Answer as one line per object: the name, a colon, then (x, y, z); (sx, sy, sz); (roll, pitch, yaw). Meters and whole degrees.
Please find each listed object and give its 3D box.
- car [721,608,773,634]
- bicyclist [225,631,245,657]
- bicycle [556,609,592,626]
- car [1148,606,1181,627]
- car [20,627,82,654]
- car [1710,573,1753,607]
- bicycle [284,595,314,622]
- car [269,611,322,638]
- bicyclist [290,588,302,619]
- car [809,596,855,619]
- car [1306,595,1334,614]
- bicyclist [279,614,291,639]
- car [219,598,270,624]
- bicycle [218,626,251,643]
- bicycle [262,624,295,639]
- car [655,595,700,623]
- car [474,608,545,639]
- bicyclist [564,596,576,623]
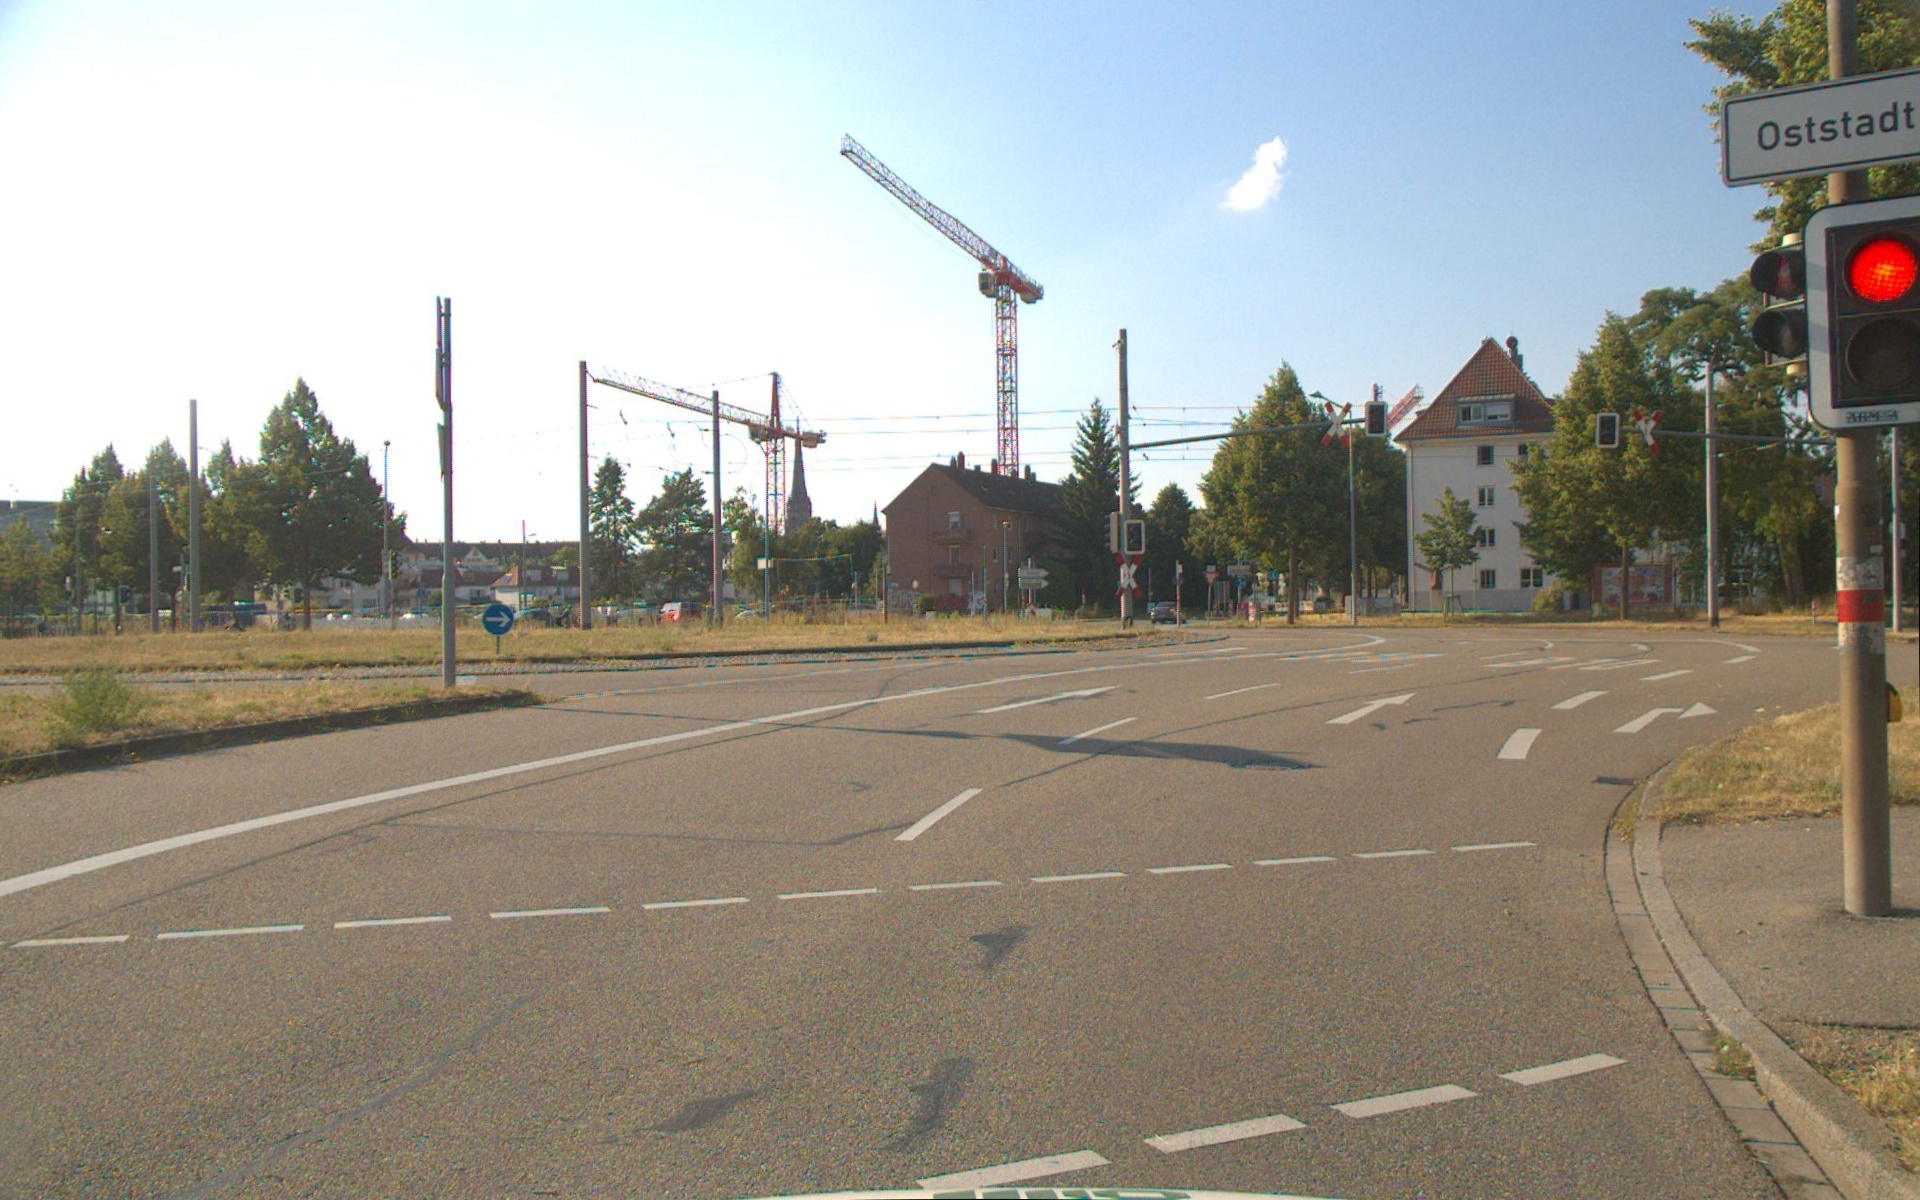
car: (-17.027, 1.684, 132.214); (3.728, 2.049, 1.673); (-1, -1, 18)
bicyclist: (-39.624, 2.400, 90.400); (0.943, 1.381, 0.687); (-1, 0, -27)
bicycle: (-22.162, 1.004, 95.031); (1.949, 0.934, 0.429); (-1, 0, -6)
car: (13.777, 1.110, 111.412); (1.425, 1.323, 3.550); (-1, 0, 19)
car: (-46.426, 2.074, 84.479); (2.644, 1.283, 1.100); (-1, 0, -35)
car: (38.599, -0.490, 82.699); (1.737, 1.646, 3.963); (-1, -1, 27)
bicycle: (-36.589, 0.472, 91.571); (1.520, 1.499, 0.475); (-1, 0, -26)
car: (-52.253, 1.934, 130.015); (3.917, 2.049, 1.994); (-1, 0, 34)
bicyclist: (-36.737, 0.215, 91.517); (0.599, 1.701, 0.474); (-1, -1, -25)
car: (-11.543, 0.684, 149.134); (3.728, 2.049, 1.673); (-1, -1, 18)
car: (35.252, 0.409, 161.819); (1.953, 1.811, 3.998); (1, 0, 24)
bicyclist: (-37.540, 1.458, 91.981); (0.643, 1.349, 0.515); (-1, 0, -23)
car: (-58.430, 0.937, 135.101); (3.917, 2.049, 1.994); (-1, 0, 34)
bicycle: (-39.643, 1.884, 90.377); (1.595, 0.875, 0.540); (-1, 0, -27)
bicycle: (-37.829, 1.731, 91.807); (1.694, 0.757, 0.477); (-1, 0, -25)
car: (-19.761, 0.631, 115.706); (1.899, 1.886, 3.961); (-1, 0, -29)
car: (-28.582, 1.460, 104.892); (3.950, 1.847, 1.977); (-1, 0, -33)
bicyclist: (-22.410, 0.531, 95.008); (0.610, 1.537, 0.418); (-1, 0, -6)
